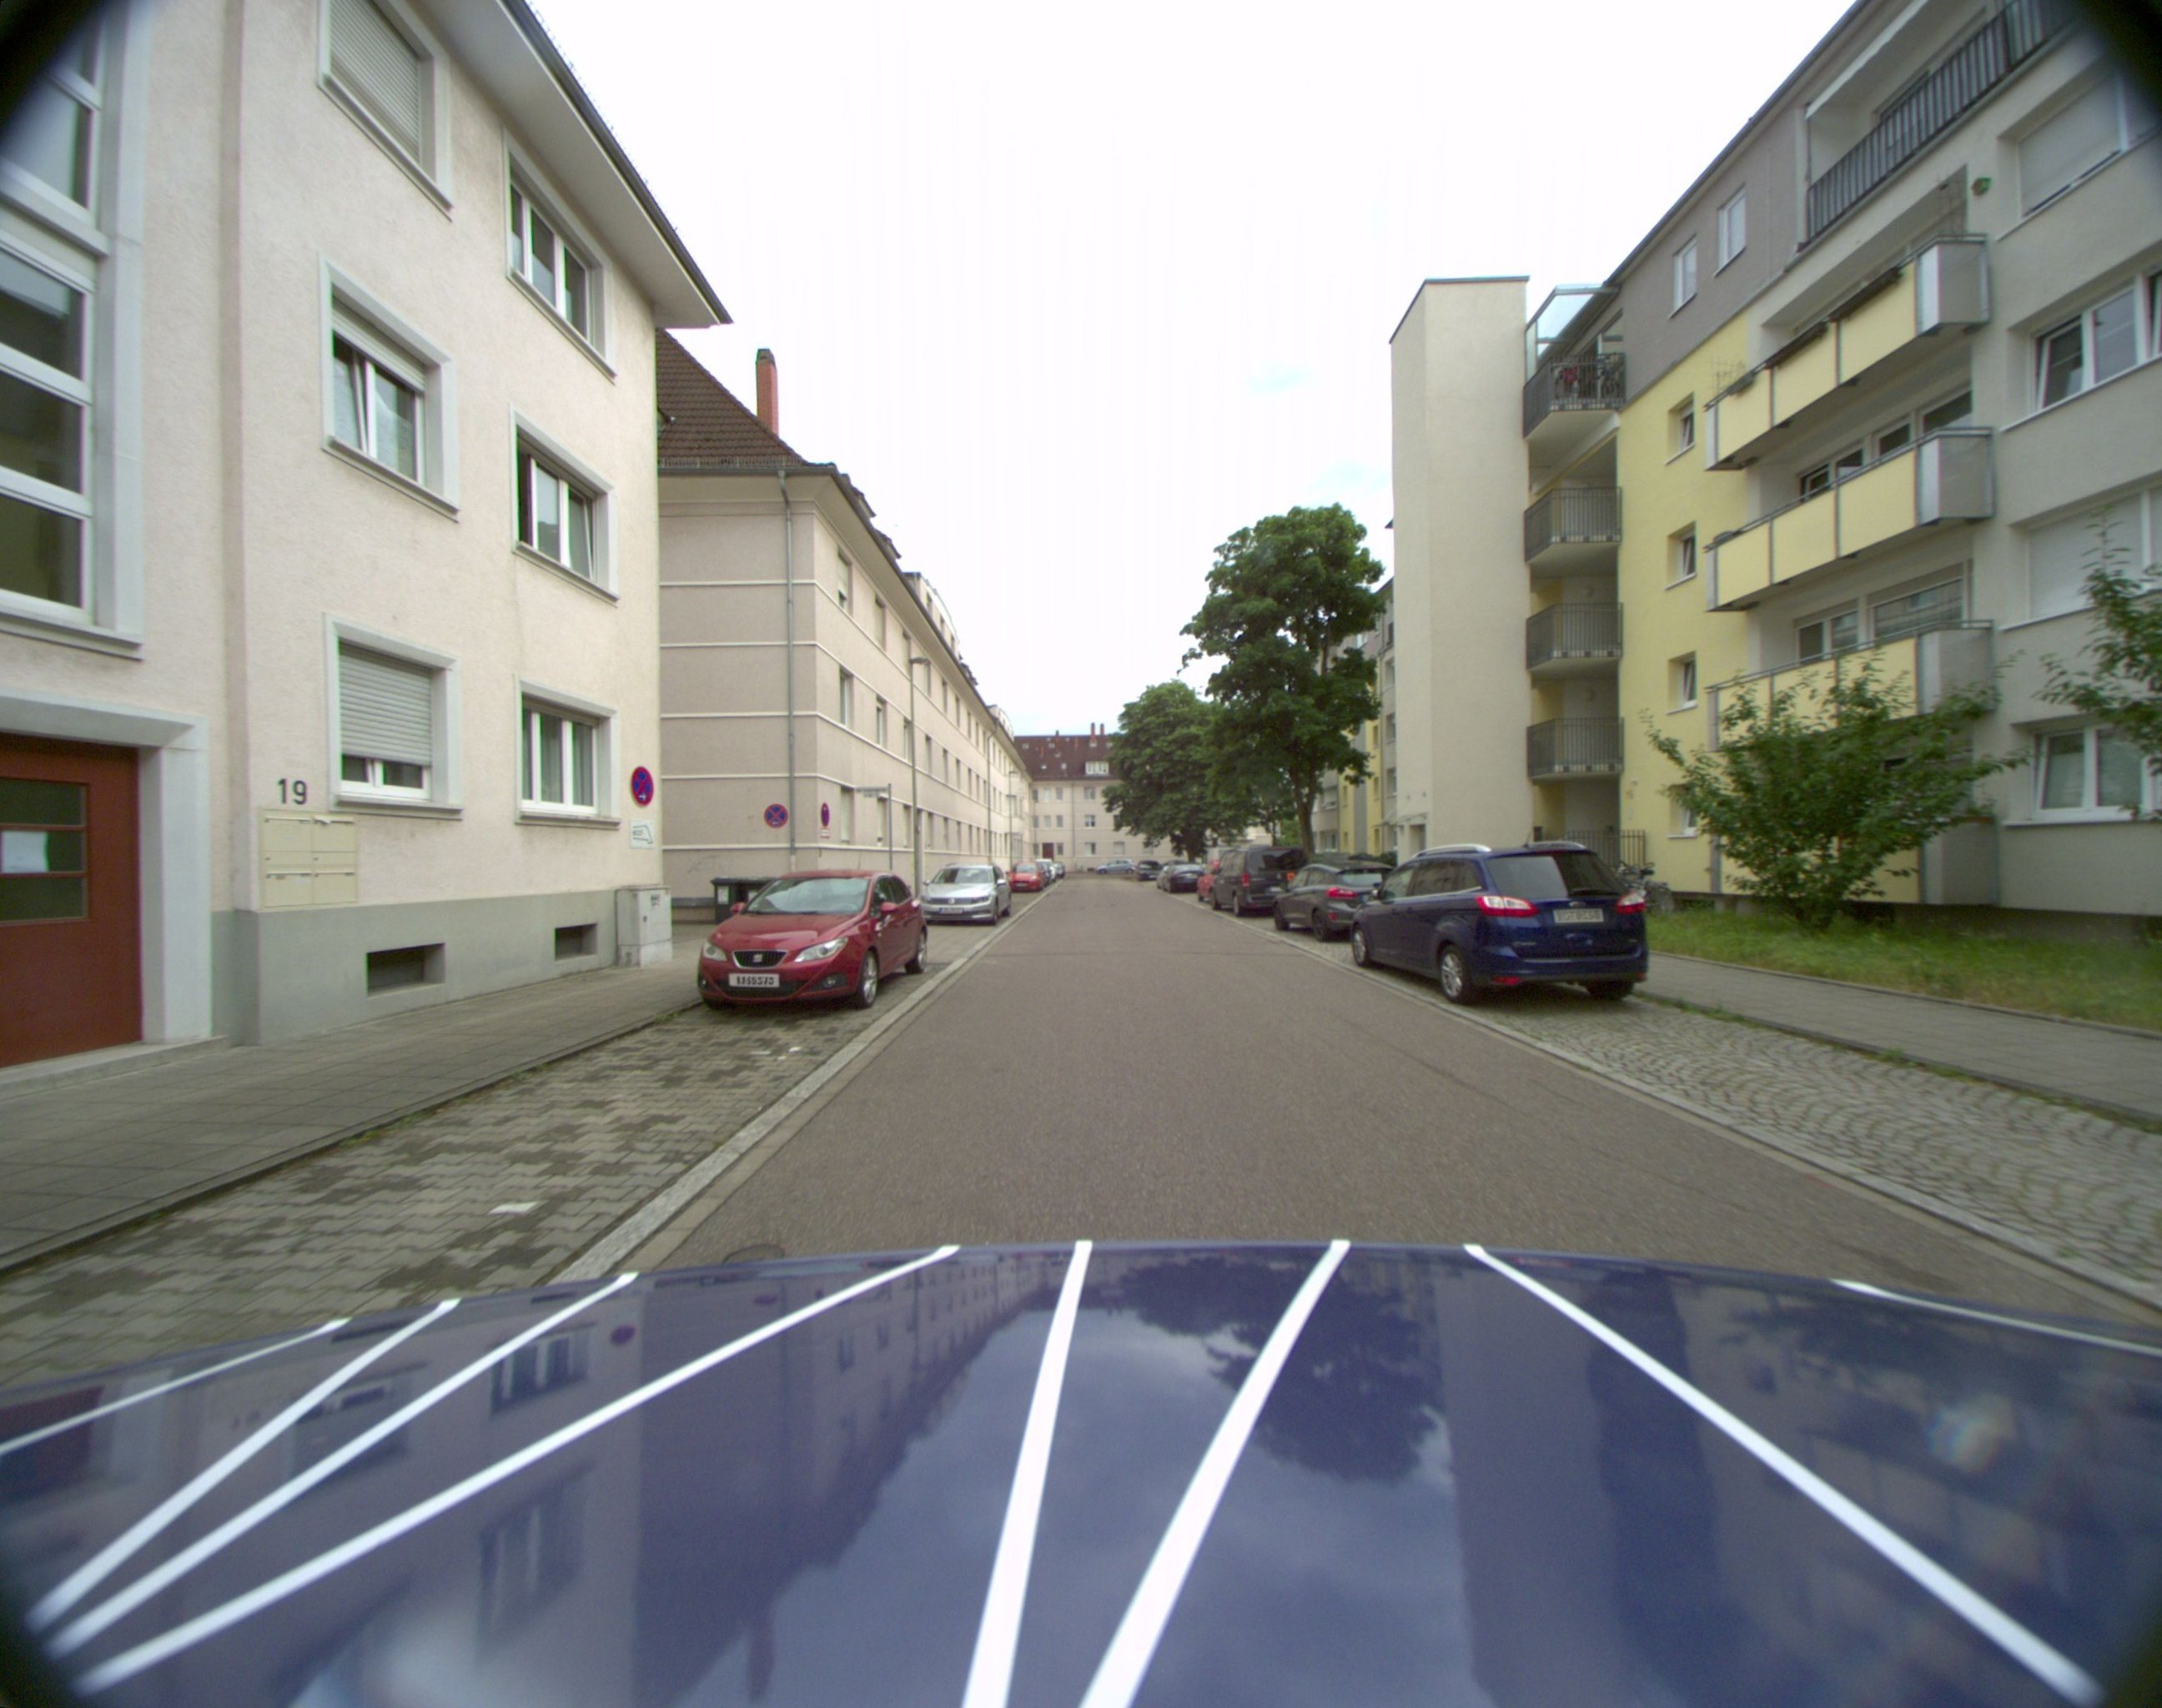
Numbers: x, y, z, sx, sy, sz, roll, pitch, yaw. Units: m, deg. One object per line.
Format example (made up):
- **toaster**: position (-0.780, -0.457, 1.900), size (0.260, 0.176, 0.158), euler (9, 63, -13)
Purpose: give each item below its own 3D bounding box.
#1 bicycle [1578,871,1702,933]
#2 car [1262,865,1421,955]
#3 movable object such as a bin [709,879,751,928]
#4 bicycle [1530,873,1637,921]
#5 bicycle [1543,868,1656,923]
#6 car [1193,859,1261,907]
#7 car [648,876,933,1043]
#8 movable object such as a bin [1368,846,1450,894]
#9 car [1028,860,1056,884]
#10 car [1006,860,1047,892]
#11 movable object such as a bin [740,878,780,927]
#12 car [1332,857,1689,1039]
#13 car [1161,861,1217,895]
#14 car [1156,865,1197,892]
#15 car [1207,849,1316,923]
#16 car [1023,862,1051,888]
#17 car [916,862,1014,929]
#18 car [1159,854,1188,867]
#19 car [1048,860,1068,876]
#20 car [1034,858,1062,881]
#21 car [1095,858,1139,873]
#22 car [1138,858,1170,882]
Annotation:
- **bicycle**: position (10.668, 0.901, 14.533), size (1.857, 1.130, 0.716), euler (-1, 0, -2)
- **car**: position (4.964, 0.997, 15.057), size (1.625, 1.437, 3.818), euler (-2, 0, -3)
- **movable object such as a bin**: position (-7.698, 1.084, 16.698), size (0.549, 1.036, 0.705), euler (-1, 0, 3)
- **bicycle**: position (11.093, 0.941, 16.819), size (1.855, 1.014, 0.671), euler (-1, 0, 7)
- **bicycle**: position (10.964, 0.877, 16.118), size (1.855, 1.130, 0.717), euler (-1, 0, 7)
- **car**: position (5.104, 0.986, 26.947), size (1.625, 1.559, 3.613), euler (-1, 0, -1)
- **car**: position (-3.014, 1.011, 8.852), size (1.758, 1.401, 3.936), euler (-1, 0, 1)
- **movable object such as a bin**: position (10.957, 0.520, 25.526), size (1.617, 1.515, 2.541), euler (-1, 0, 0)
- **car**: position (-2.487, 1.141, 49.257), size (1.587, 1.500, 3.486), euler (-1, 0, 1)
- **car**: position (-2.686, 1.060, 38.165), size (1.758, 1.477, 3.773), euler (0, 0, 1)
- **movable object such as a bin**: position (-7.105, 1.062, 16.859), size (0.549, 1.036, 0.705), euler (-1, 0, 3)
- **car**: position (4.715, 0.880, 9.269), size (1.804, 1.617, 4.472), euler (-2, 0, 1)
- **car**: position (5.108, 1.115, 36.572), size (1.919, 1.431, 4.434), euler (-3, 0, -1)
- **car**: position (5.226, 1.327, 42.176), size (1.765, 1.257, 4.210), euler (-3, 0, 1)
- **car**: position (4.975, 0.813, 21.655), size (1.891, 1.844, 4.785), euler (-1, 0, 0)
- **car**: position (-2.506, 1.211, 43.908), size (1.353, 1.404, 3.310), euler (-1, 0, 1)
- **car**: position (-2.788, 0.945, 19.075), size (1.792, 1.455, 4.040), euler (-1, 0, 1)
- **car**: position (9.729, 0.709, 79.821), size (2.930, 1.277, 1.353), euler (-2, 0, 4)
- **car**: position (-1.934, 1.187, 65.671), size (1.563, 1.334, 3.789), euler (-1, 0, 1)
- **car**: position (-2.343, 1.074, 54.882), size (1.764, 1.595, 3.956), euler (-1, 0, 1)
- **car**: position (3.838, 1.200, 79.965), size (4.545, 1.551, 1.565), euler (-1, 1, 5)
- **car**: position (5.408, 1.155, 56.685), size (2.000, 1.566, 4.210), euler (-3, 0, 1)
